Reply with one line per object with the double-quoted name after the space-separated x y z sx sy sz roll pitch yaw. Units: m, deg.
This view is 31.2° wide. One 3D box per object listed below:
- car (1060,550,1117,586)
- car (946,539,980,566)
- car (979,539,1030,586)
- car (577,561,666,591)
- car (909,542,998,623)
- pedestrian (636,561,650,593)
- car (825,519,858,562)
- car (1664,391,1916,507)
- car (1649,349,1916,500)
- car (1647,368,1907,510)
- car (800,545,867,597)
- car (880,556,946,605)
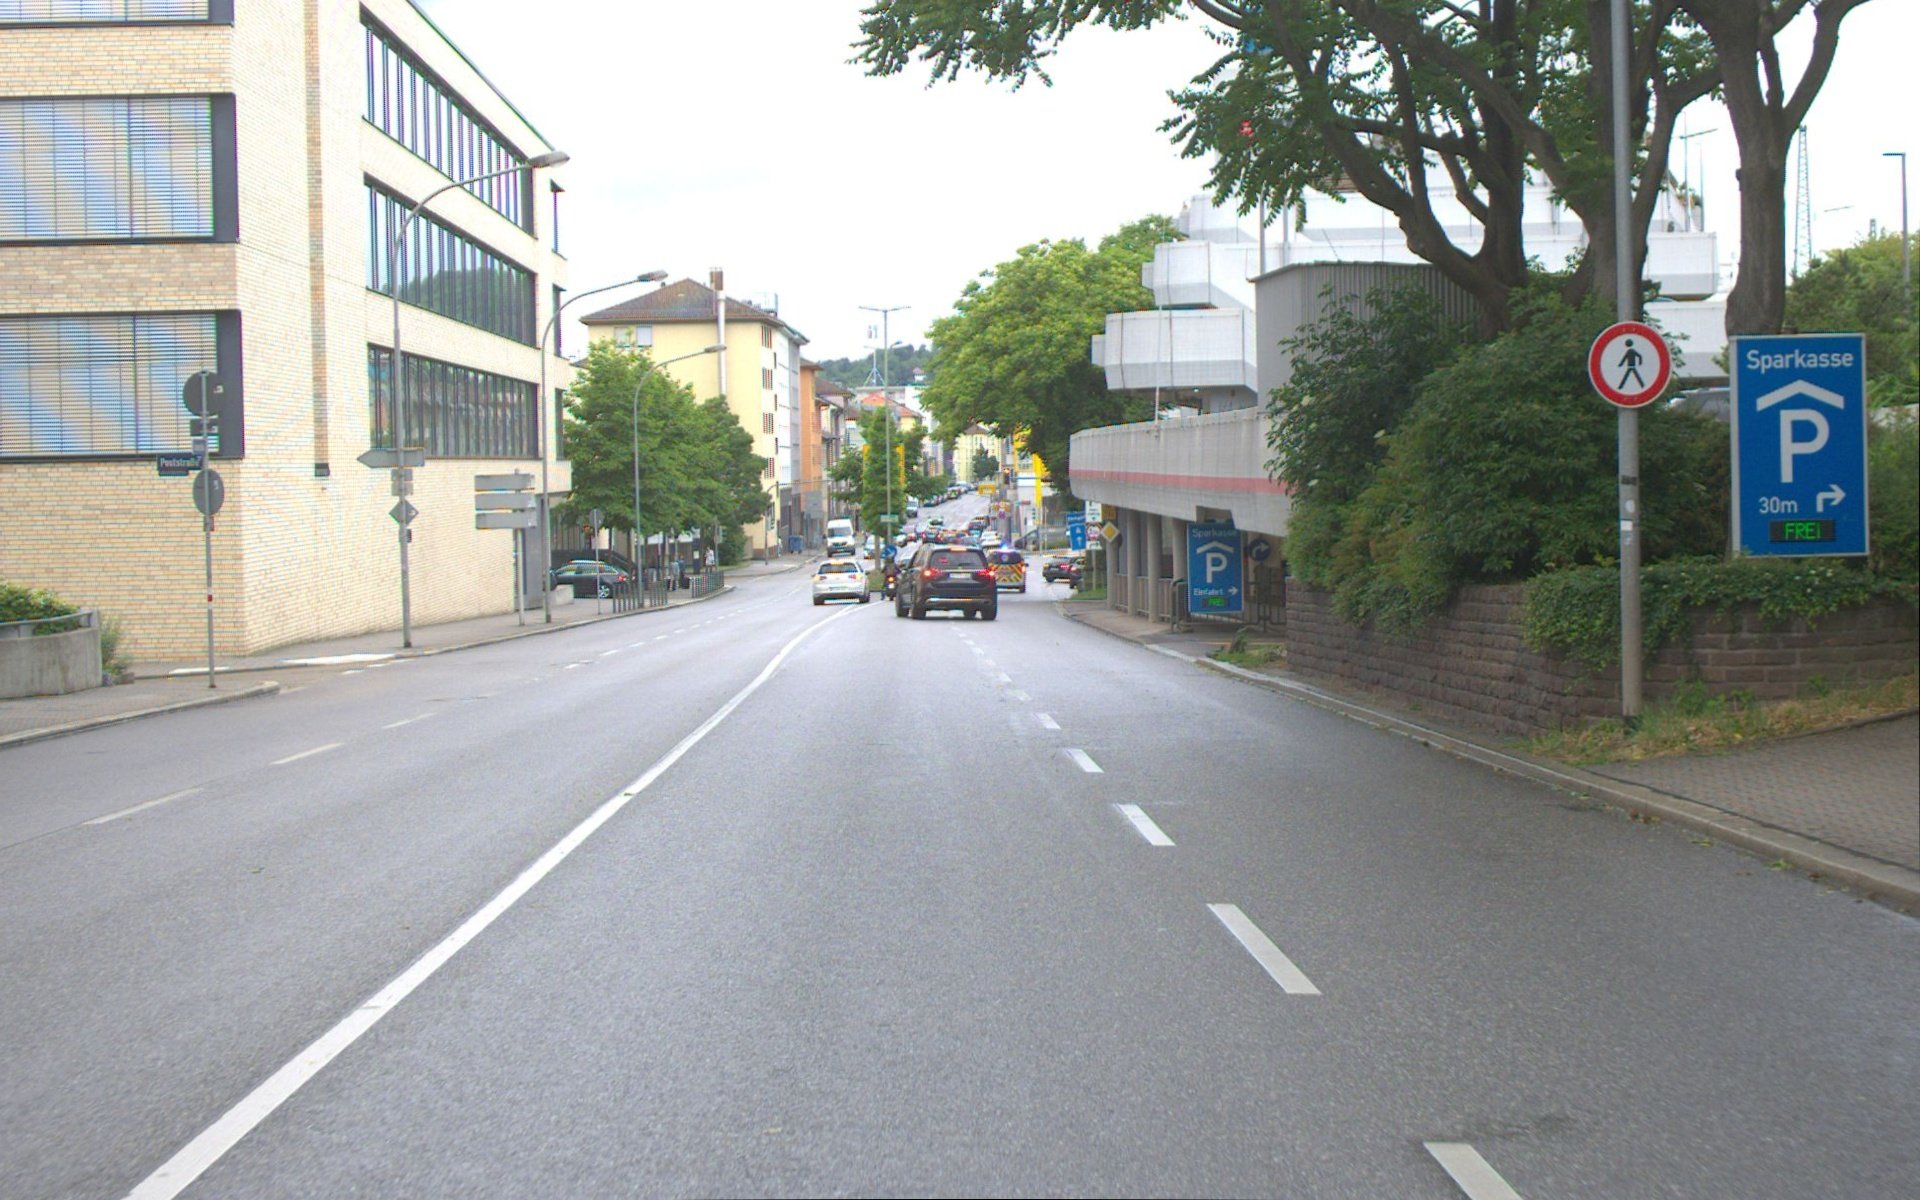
6.177 -1.553 164.822 1.995 1.674 3.998 -1 1 13 "car"
0.198 -3.203 229.226 1.993 1.674 4.001 -1 2 -4 "car"
1.939 -1.664 151.639 2.173 1.997 4.000 -1 1 0 "car"
-14.078 -0.997 143.025 3.654 1.230 1.441 -1 1 -6 "car"
-0.149 -0.450 83.703 2.091 1.904 4.099 0 1 0 "car"
-12.949 -0.935 140.492 0.454 1.274 0.454 -1 1 10 "pedestrian"
-8.674 -4.345 251.915 2.183 3.087 4.931 -1 1 -5 "car"
12.805 -2.315 53.202 3.623 1.700 1.640 0 1 7 "car"
11.465 -2.435 48.082 3.451 2.007 1.653 0 1 7 "car"
12.032 -2.362 50.794 3.585 2.007 1.596 0 1 7 "car"
-4.250 -0.989 114.689 1.993 1.674 4.001 -1 1 -5 "car"
-1.698 -0.708 122.778 1.993 1.674 4.001 -1 1 -5 "car"
